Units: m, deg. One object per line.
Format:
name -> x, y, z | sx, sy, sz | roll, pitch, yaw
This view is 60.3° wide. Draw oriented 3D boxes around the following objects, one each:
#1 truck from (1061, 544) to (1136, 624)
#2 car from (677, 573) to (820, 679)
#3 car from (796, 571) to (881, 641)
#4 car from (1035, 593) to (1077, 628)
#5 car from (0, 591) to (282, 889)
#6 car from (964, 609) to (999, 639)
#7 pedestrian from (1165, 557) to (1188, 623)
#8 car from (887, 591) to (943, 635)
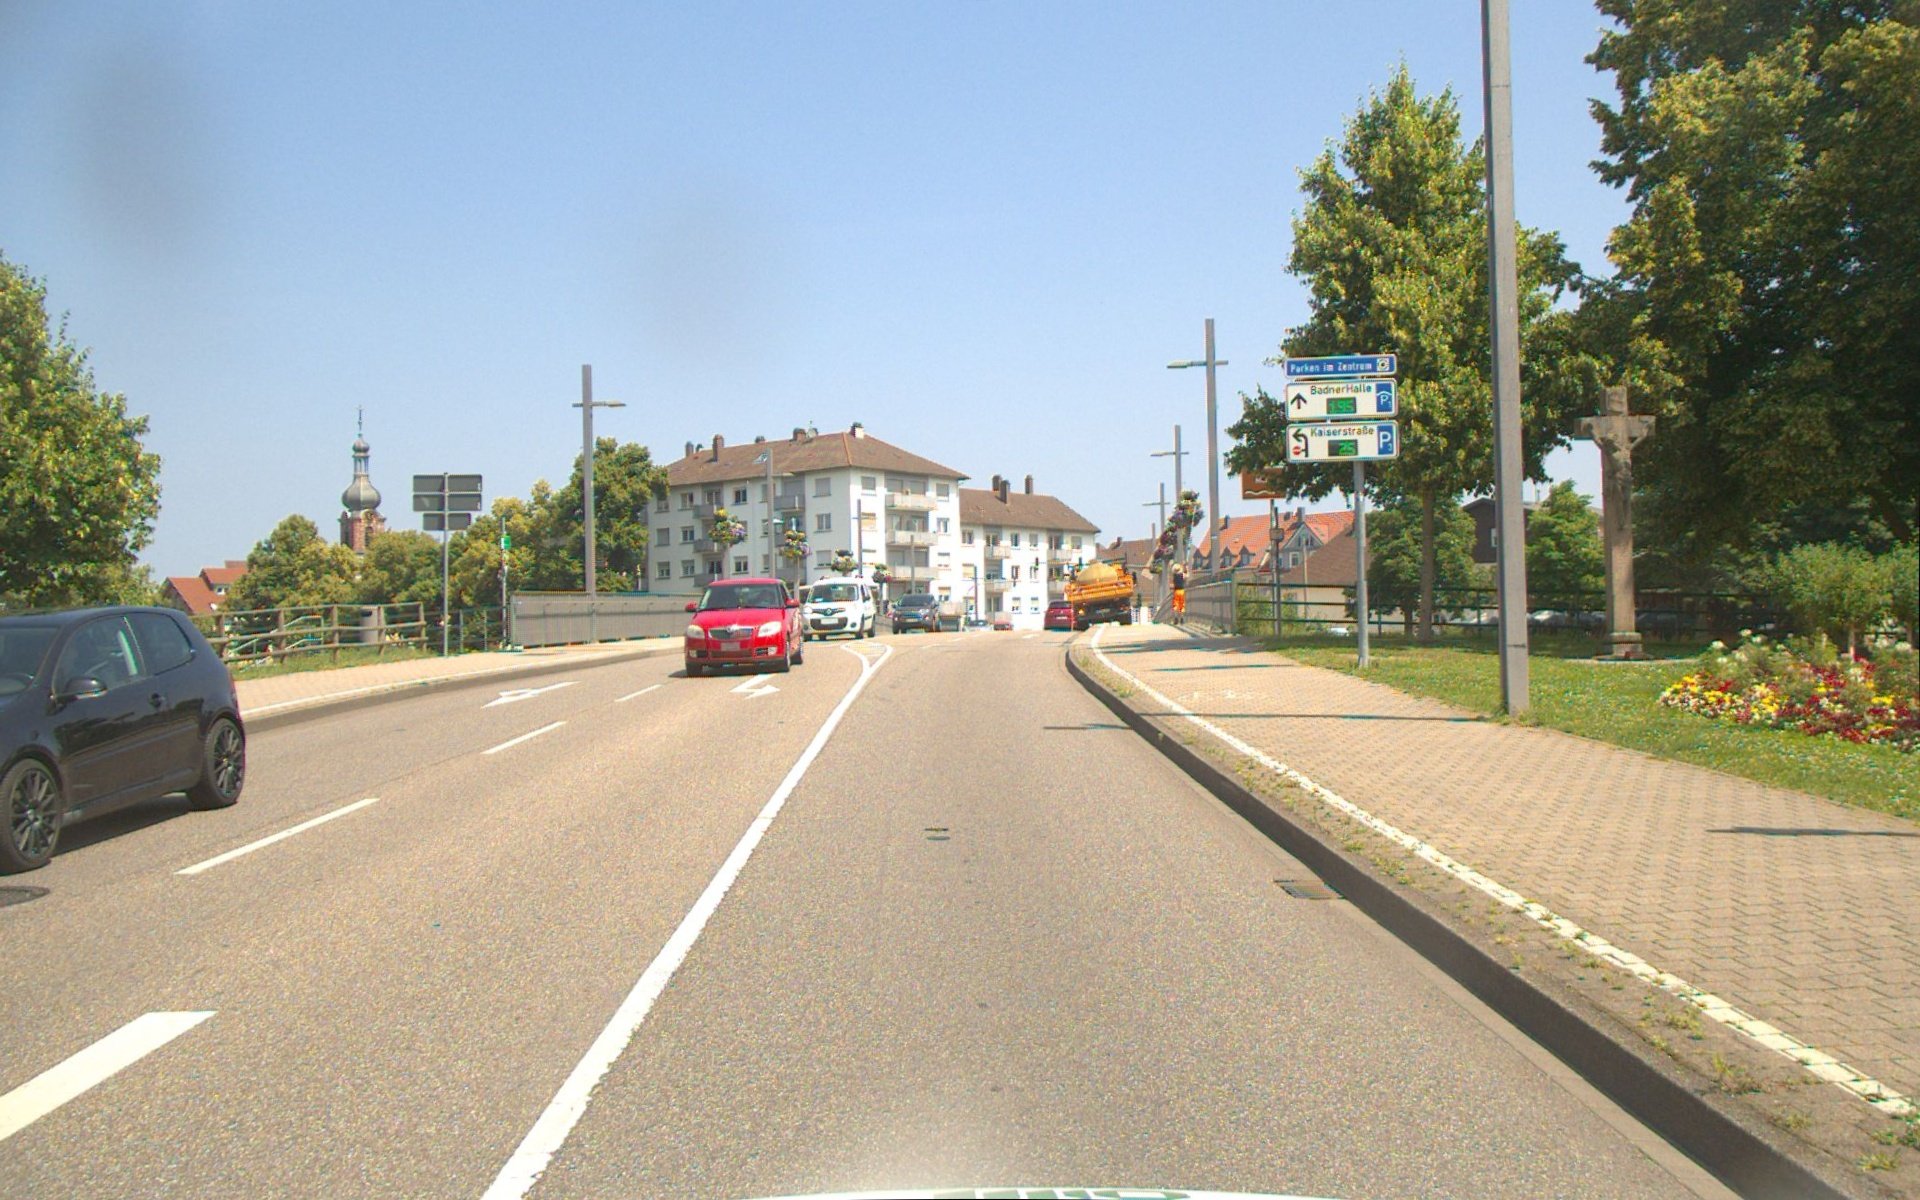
truck -> 5.152, -0.526, 60.808 | 2.550, 2.738, 5.826 | -2, -1, 6
car -> -3.365, 0.362, 26.945 | 1.612, 1.489, 3.863 | -1, 2, 3
car -> -3.545, 0.149, 48.894 | 1.798, 1.892, 4.665 | -3, 0, 4
car -> 4.790, 0.537, 82.134 | 1.948, 1.641, 4.344 | -2, -1, 4
car -> -5.975, 0.779, 10.444 | 1.679, 1.511, 4.031 | -3, 1, -1
car -> 1.350, 1.498, 100.852 | 1.663, 1.382, 4.457 | 4, -4, 6
pedestrian -> 6.643, -0.302, 50.767 | 0.536, 1.994, 0.672 | -1, -2, -3
car -> -1.840, 0.534, 68.800 | 1.700, 1.669, 3.924 | -4, -1, 6
